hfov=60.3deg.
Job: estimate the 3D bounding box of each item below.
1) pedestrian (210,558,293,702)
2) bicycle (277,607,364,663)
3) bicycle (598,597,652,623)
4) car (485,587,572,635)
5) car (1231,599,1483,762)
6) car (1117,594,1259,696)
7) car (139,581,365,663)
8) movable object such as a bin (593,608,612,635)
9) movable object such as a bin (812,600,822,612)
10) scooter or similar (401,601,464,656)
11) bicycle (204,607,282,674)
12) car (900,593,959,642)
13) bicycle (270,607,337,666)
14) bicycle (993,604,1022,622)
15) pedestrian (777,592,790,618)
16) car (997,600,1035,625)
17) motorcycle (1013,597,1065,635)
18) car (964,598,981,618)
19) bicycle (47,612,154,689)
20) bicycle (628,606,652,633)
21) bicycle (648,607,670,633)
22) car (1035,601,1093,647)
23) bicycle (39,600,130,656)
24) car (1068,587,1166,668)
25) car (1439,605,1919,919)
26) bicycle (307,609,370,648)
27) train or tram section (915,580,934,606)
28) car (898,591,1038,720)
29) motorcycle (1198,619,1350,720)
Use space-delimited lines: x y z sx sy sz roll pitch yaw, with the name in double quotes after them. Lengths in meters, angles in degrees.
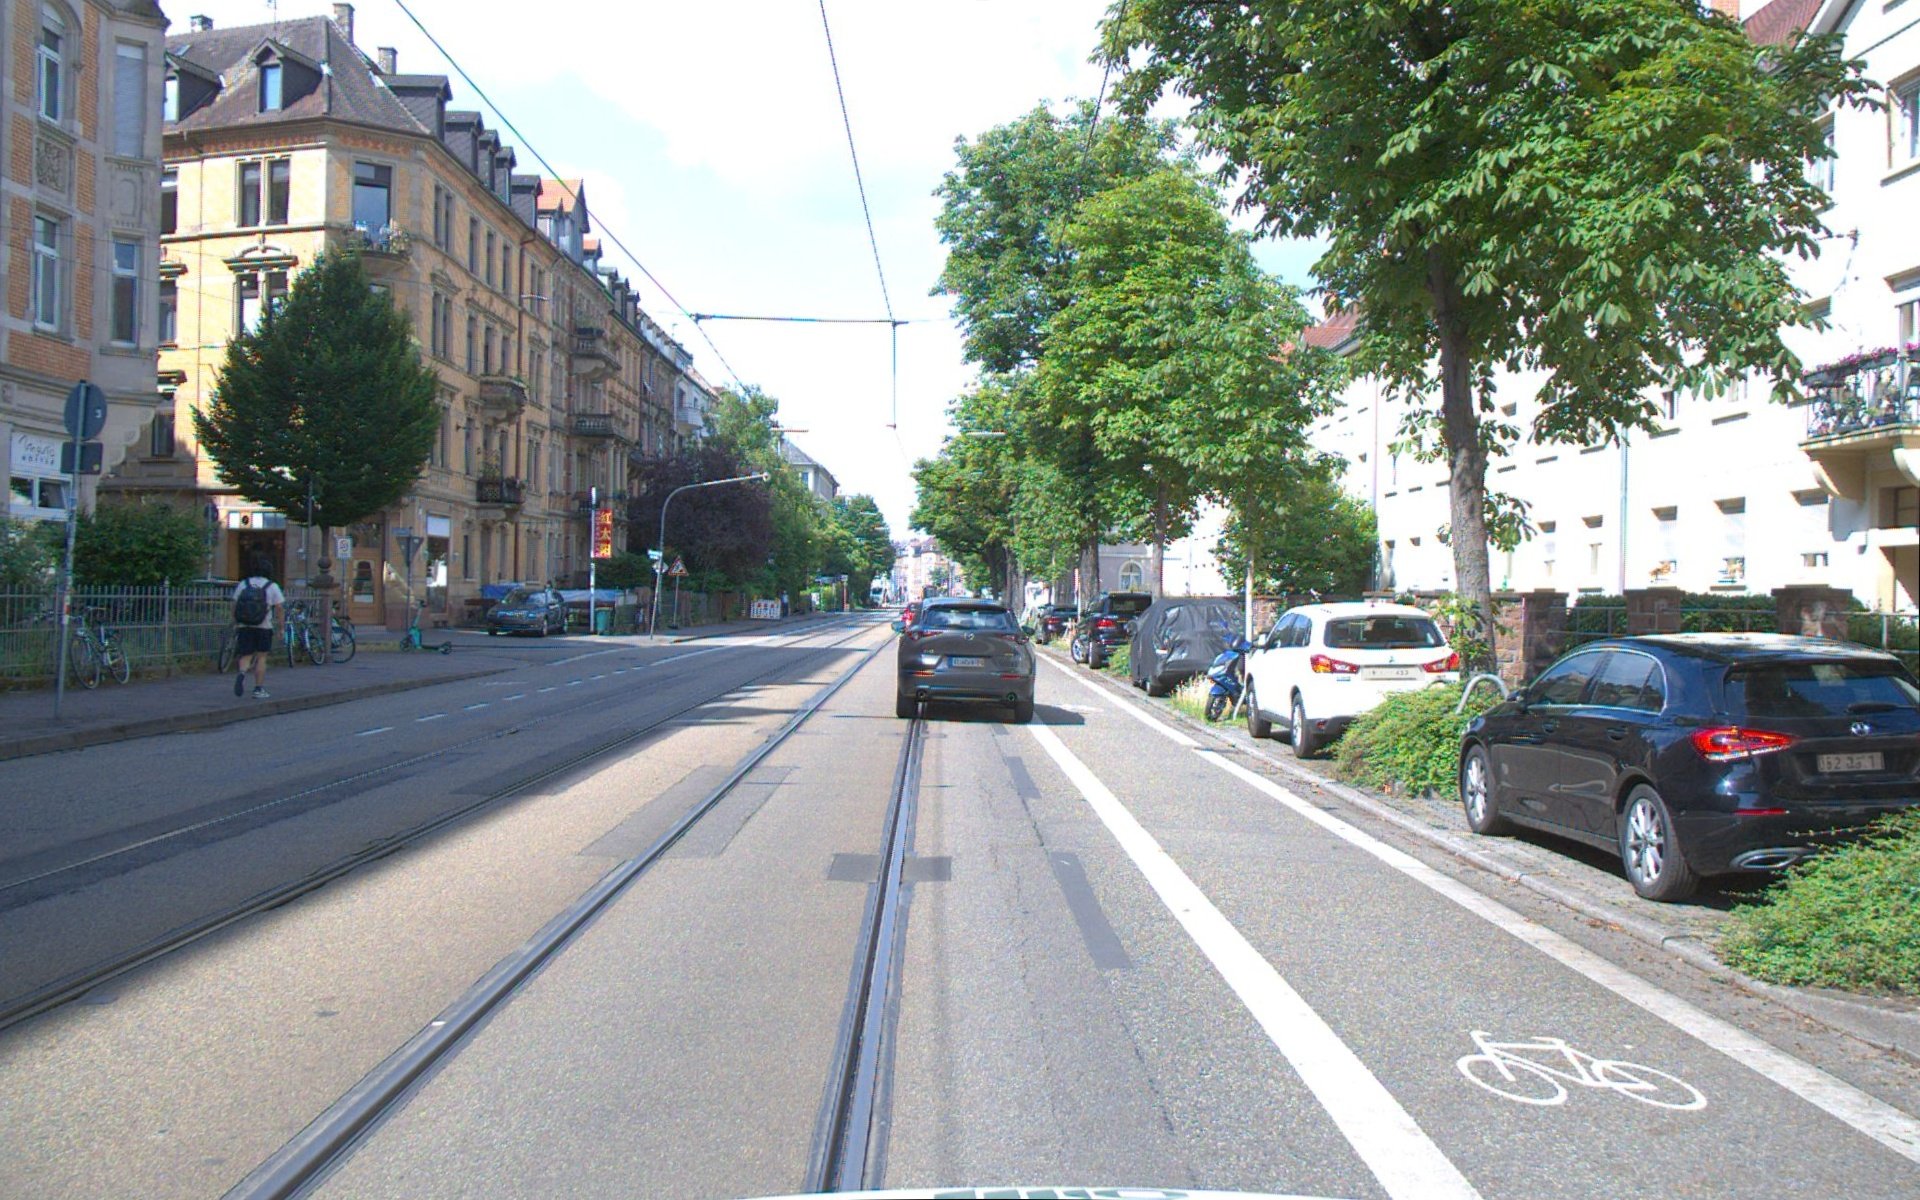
-9.153 0.379 21.406 0.522 1.791 1.105 3 0 -1 "pedestrian"
-11.724 0.634 30.347 1.423 0.994 0.404 1 0 -1 "bicycle"
-12.696 0.375 62.729 1.923 0.963 0.531 1 0 -6 "bicycle"
-13.993 0.353 53.894 1.651 1.485 4.763 1 0 -1 "car"
4.352 0.813 18.794 1.707 1.608 4.247 1 0 -2 "car"
4.067 0.761 30.158 1.825 1.682 4.636 1 0 -1 "car"
-13.562 0.408 31.809 3.528 1.427 1.787 2 0 3 "car"
-12.142 0.725 56.228 0.514 0.921 0.636 1 0 -2 "movable object such as a bin"
-12.560 0.522 145.190 0.730 1.005 1.114 3 0 -1 "movable object such as a bin"
-12.423 0.668 38.958 1.346 1.256 0.400 2 -1 -30 "scooter or similar"
-11.298 0.619 26.122 0.413 0.993 1.949 1 0 -1 "bicycle"
-1.084 0.608 58.683 1.953 1.555 3.999 3 0 -1 "car"
-11.429 0.619 28.846 0.413 0.993 1.949 1 0 -1 "bicycle"
3.171 0.883 110.677 1.895 1.196 0.513 0 -1 11 "bicycle"
-11.911 0.313 111.613 0.806 1.736 0.891 1 -1 -4 "pedestrian"
3.278 0.736 97.587 1.810 1.434 4.391 -1 0 -4 "car"
3.568 0.715 75.019 2.341 1.625 0.676 3 1 38 "motorcycle"
1.312 0.845 173.458 1.685 2.003 4.206 1 0 0 "car"
-11.297 0.642 21.804 0.413 0.949 1.949 1 0 -1 "bicycle"
-11.652 0.714 60.230 0.519 0.963 1.967 1 0 -1 "bicycle"
-11.710 0.765 64.417 0.519 0.963 1.967 1 0 -1 "bicycle"
3.691 0.847 59.298 1.672 1.504 4.195 3 0 -1 "car"
-15.912 0.504 30.072 1.423 0.994 0.404 1 0 -1 "bicycle"
3.687 0.607 39.566 1.790 1.813 4.732 1 0 -1 "car"
4.541 0.829 10.485 1.627 1.547 4.286 1 0 -2 "car"
-14.365 0.647 38.281 0.512 0.852 1.699 1 1 12 "bicycle"
-5.511 -1.110 253.934 2.520 3.838 13.018 1 0 -3 "train or tram section"
0.062 0.686 22.049 1.686 1.553 3.588 1 0 -1 "car"
4.422 0.978 23.356 1.967 1.360 0.746 1 0 -5 "motorcycle"
